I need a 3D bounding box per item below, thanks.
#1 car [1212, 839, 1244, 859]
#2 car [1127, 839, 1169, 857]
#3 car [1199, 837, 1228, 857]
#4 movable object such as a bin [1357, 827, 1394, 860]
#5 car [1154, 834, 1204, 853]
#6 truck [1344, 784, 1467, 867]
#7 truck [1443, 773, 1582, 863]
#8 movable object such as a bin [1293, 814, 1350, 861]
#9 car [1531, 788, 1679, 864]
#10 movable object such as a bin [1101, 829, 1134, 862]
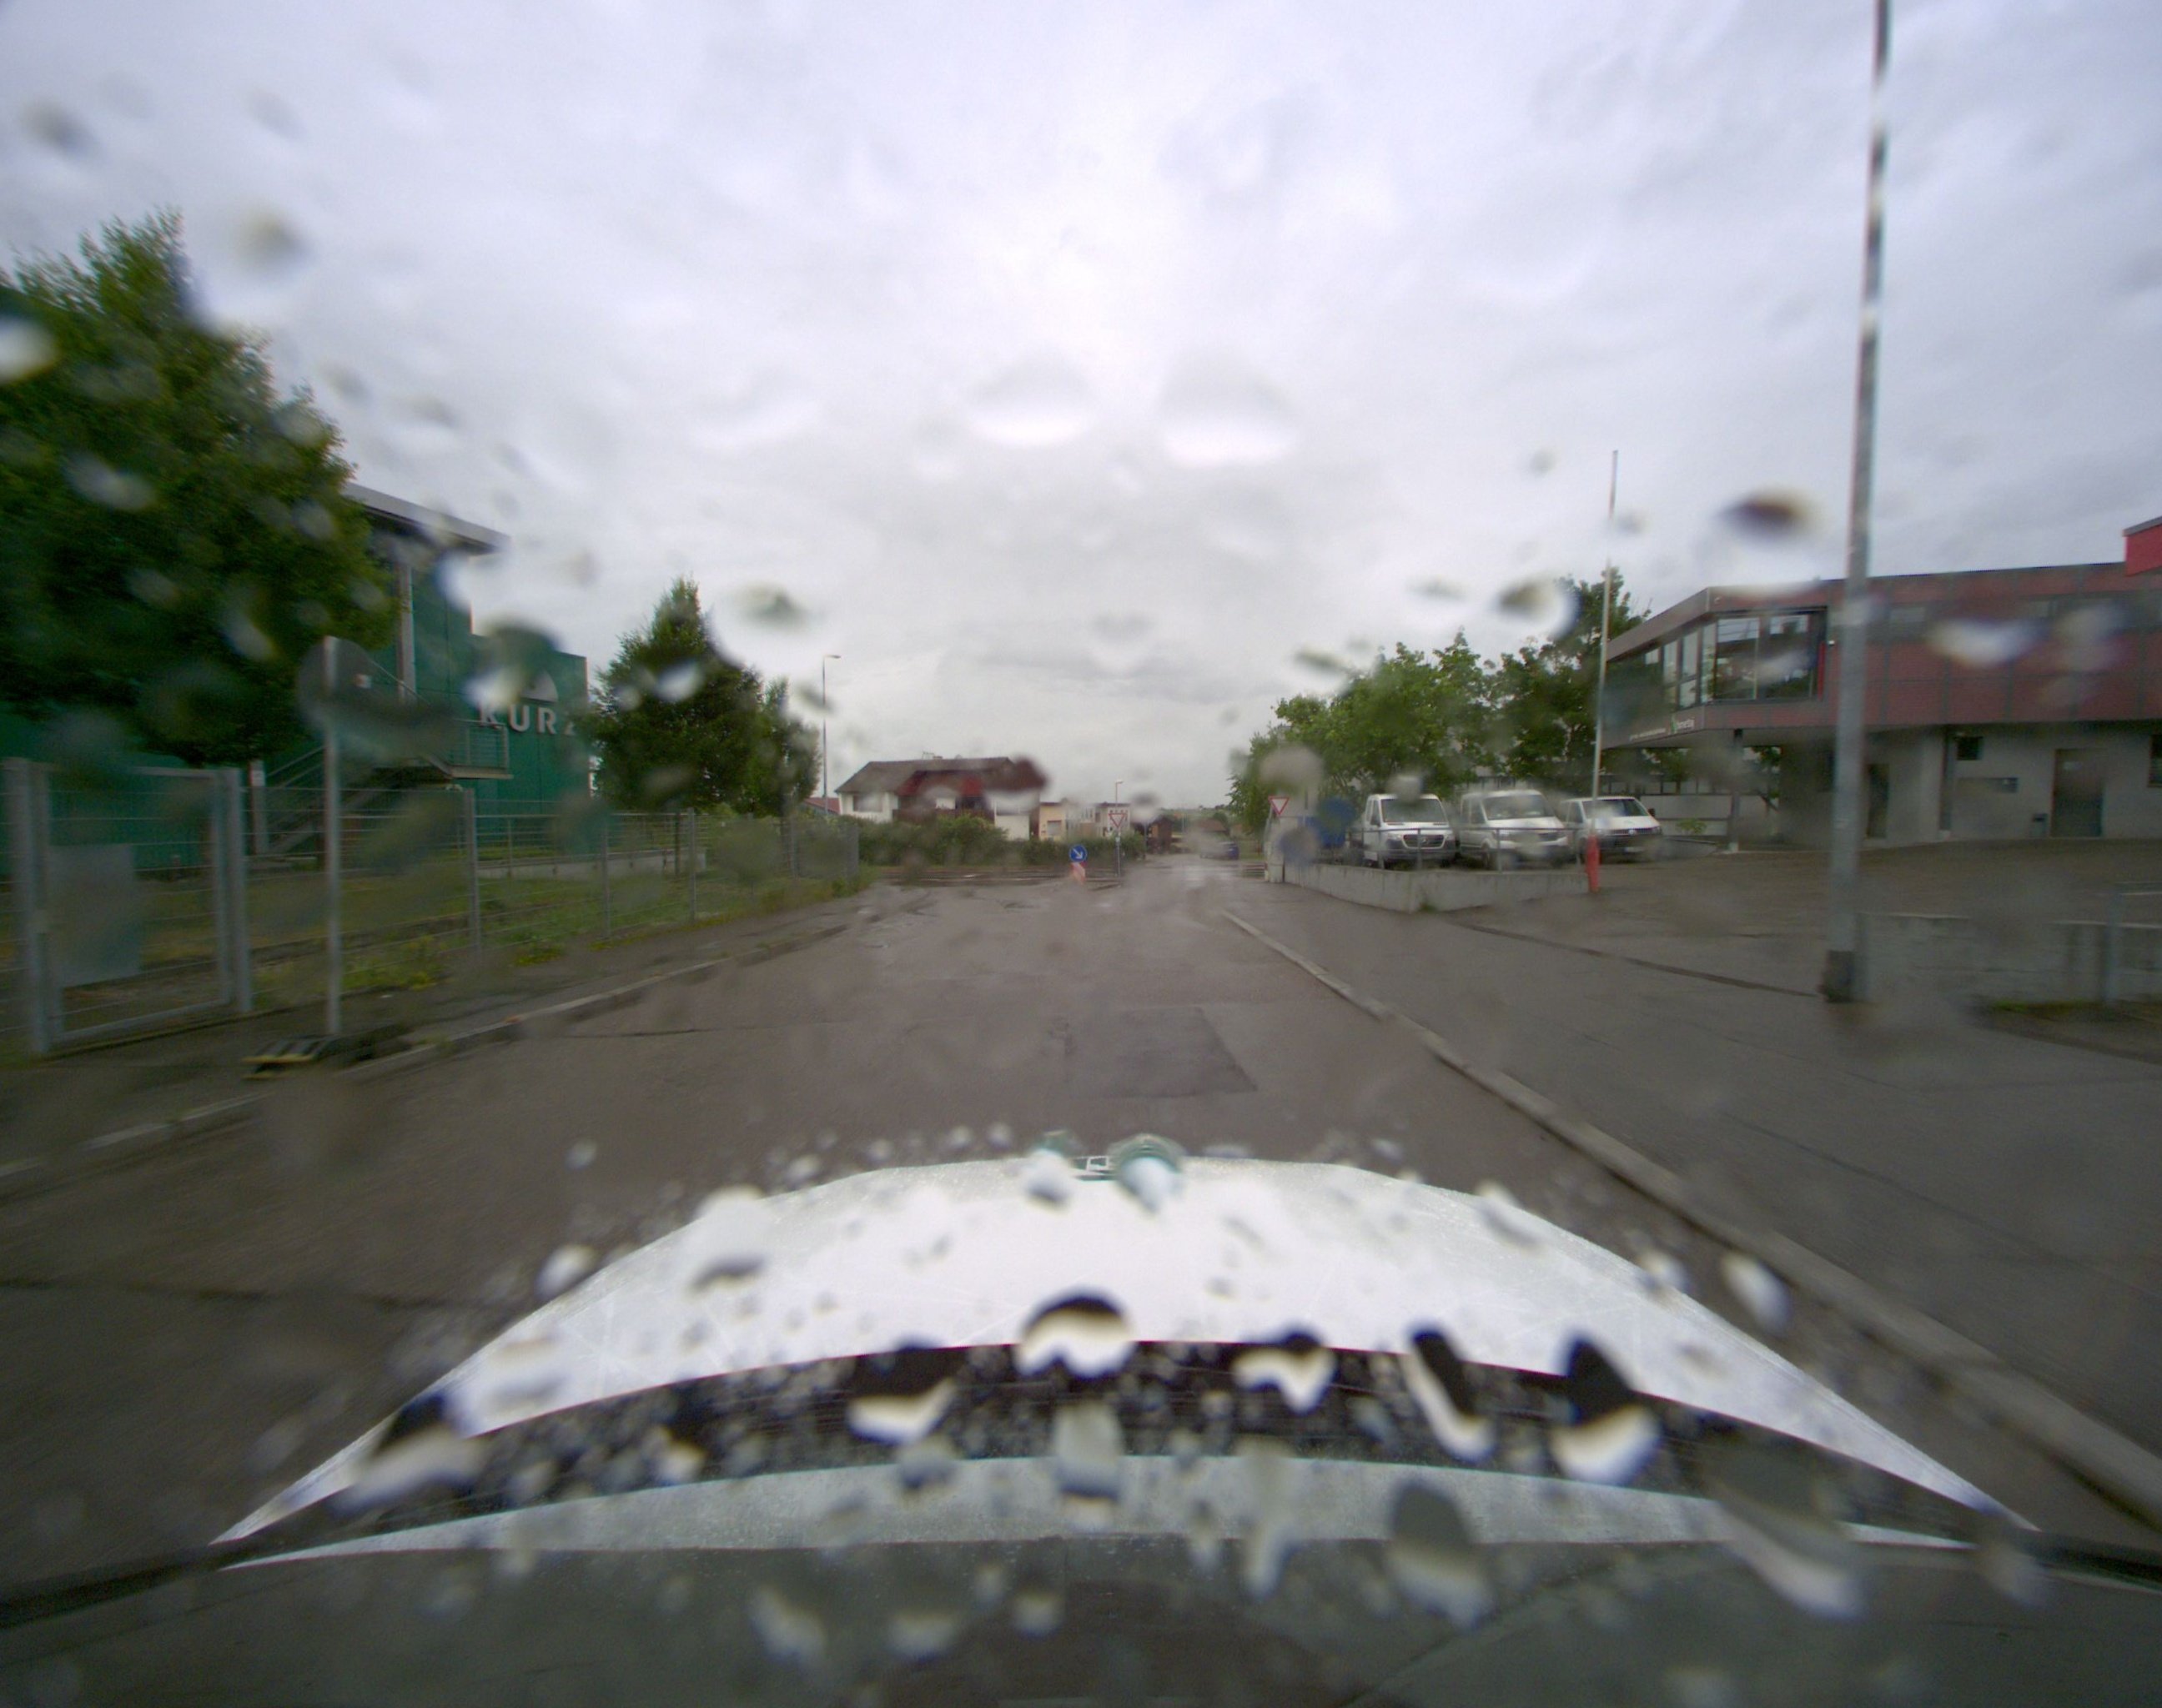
[{"bbox_3d":[12.696,-0.417,70.788,1.946,1.610,4.445,-1,0,-1],"label":"car"},{"bbox_3d":[7.323,-0.655,89.257,2.011,1.905,4.356,-1,0,-43],"label":"car"},{"bbox_3d":[12.528,-0.632,77.111,2.067,1.835,4.471,-1,0,1],"label":"car"},{"bbox_3d":[10.645,-0.381,29.517,1.131,1.162,1.030,-1,0,12],"label":"movable object such as a bin"},{"bbox_3d":[12.788,-1.348,106.580,5.954,2.415,2.477,-1,0,25],"label":"car"},{"bbox_3d":[9.655,-0.791,24.785,2.094,2.214,5.664,-1,0,7],"label":"truck"},{"bbox_3d":[12.406,-0.959,23.846,2.229,2.341,4.850,0,0,10],"label":"truck"},{"bbox_3d":[8.061,-0.538,27.389,1.303,1.500,1.857,-1,0,-2],"label":"movable object such as a bin"},{"bbox_3d":[15.414,-0.771,24.331,2.043,2.013,4.954,-1,0,11],"label":"car"},{"bbox_3d":[3.008,-0.690,66.132,1.718,2.556,3.356,-1,0,19],"label":"movable object such as a bin"}]
